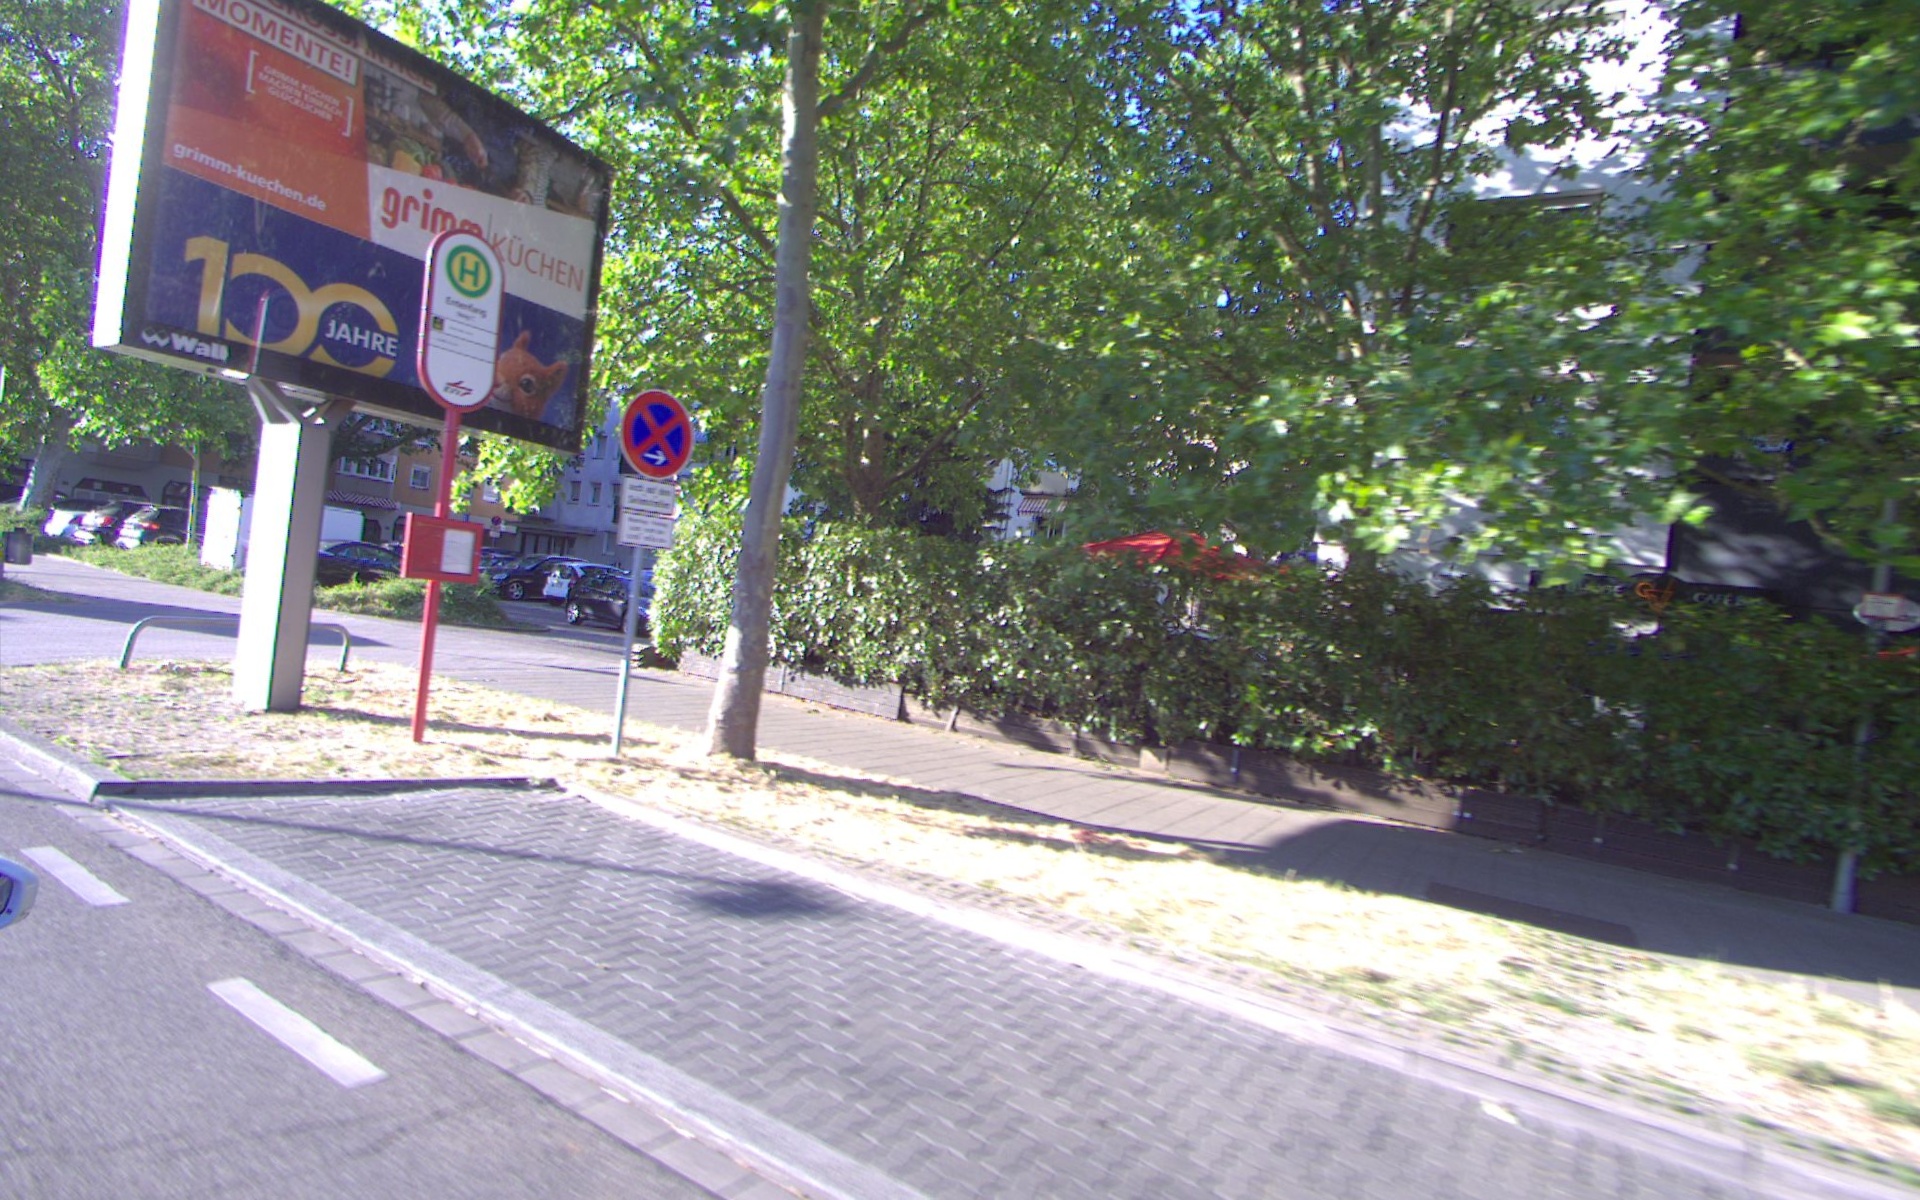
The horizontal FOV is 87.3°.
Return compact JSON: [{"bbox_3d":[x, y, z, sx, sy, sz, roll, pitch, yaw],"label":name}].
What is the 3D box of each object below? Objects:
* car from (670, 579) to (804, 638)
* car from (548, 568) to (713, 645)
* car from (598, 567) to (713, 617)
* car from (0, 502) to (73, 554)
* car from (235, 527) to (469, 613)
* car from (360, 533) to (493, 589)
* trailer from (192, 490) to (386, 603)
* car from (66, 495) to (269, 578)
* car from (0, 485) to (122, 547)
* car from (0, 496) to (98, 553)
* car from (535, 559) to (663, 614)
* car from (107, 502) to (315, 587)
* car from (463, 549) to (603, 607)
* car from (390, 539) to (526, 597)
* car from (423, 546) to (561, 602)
[{"bbox_3d":[-6.800,0.306,31.054,1.678,1.506,3.922,6,1,33],"label":"car"},{"bbox_3d":[-8.576,0.142,26.094,4.172,1.454,1.791,7,-1,34],"label":"car"},{"bbox_3d":[-12.497,-0.294,41.571,1.842,1.663,4.278,6,1,33],"label":"car"},{"bbox_3d":[-34.715,-2.731,36.123,1.678,1.607,3.924,6,-1,33],"label":"car"},{"bbox_3d":[-13.040,-0.603,21.800,1.679,1.352,3.923,6,-1,34],"label":"car"},{"bbox_3d":[-21.340,-1.535,40.386,1.842,1.662,4.281,7,-1,33],"label":"car"},{"bbox_3d":[-15.313,-1.179,23.071,1.848,2.094,3.067,7,-1,34],"label":"trailer"},{"bbox_3d":[-21.460,-1.677,27.385,1.678,1.657,3.924,6,-1,33],"label":"car"},{"bbox_3d":[-30.878,-2.857,33.699,1.678,1.607,3.924,6,-1,33],"label":"car"},{"bbox_3d":[-32.691,-2.715,34.827,1.678,1.607,3.924,6,-1,33],"label":"car"},{"bbox_3d":[-12.685,-0.438,35.529,1.800,1.575,3.895,6,1,33],"label":"car"},{"bbox_3d":[-19.438,-1.409,26.262,1.678,1.656,3.924,6,-1,33],"label":"car"},{"bbox_3d":[-15.307,-0.764,36.283,1.842,1.663,4.278,6,1,33],"label":"car"},{"bbox_3d":[-19.416,-1.203,39.062,1.842,1.662,4.282,7,-1,33],"label":"car"},{"bbox_3d":[-17.469,-0.952,37.731,1.842,1.663,4.278,6,1,33],"label":"car"}]
